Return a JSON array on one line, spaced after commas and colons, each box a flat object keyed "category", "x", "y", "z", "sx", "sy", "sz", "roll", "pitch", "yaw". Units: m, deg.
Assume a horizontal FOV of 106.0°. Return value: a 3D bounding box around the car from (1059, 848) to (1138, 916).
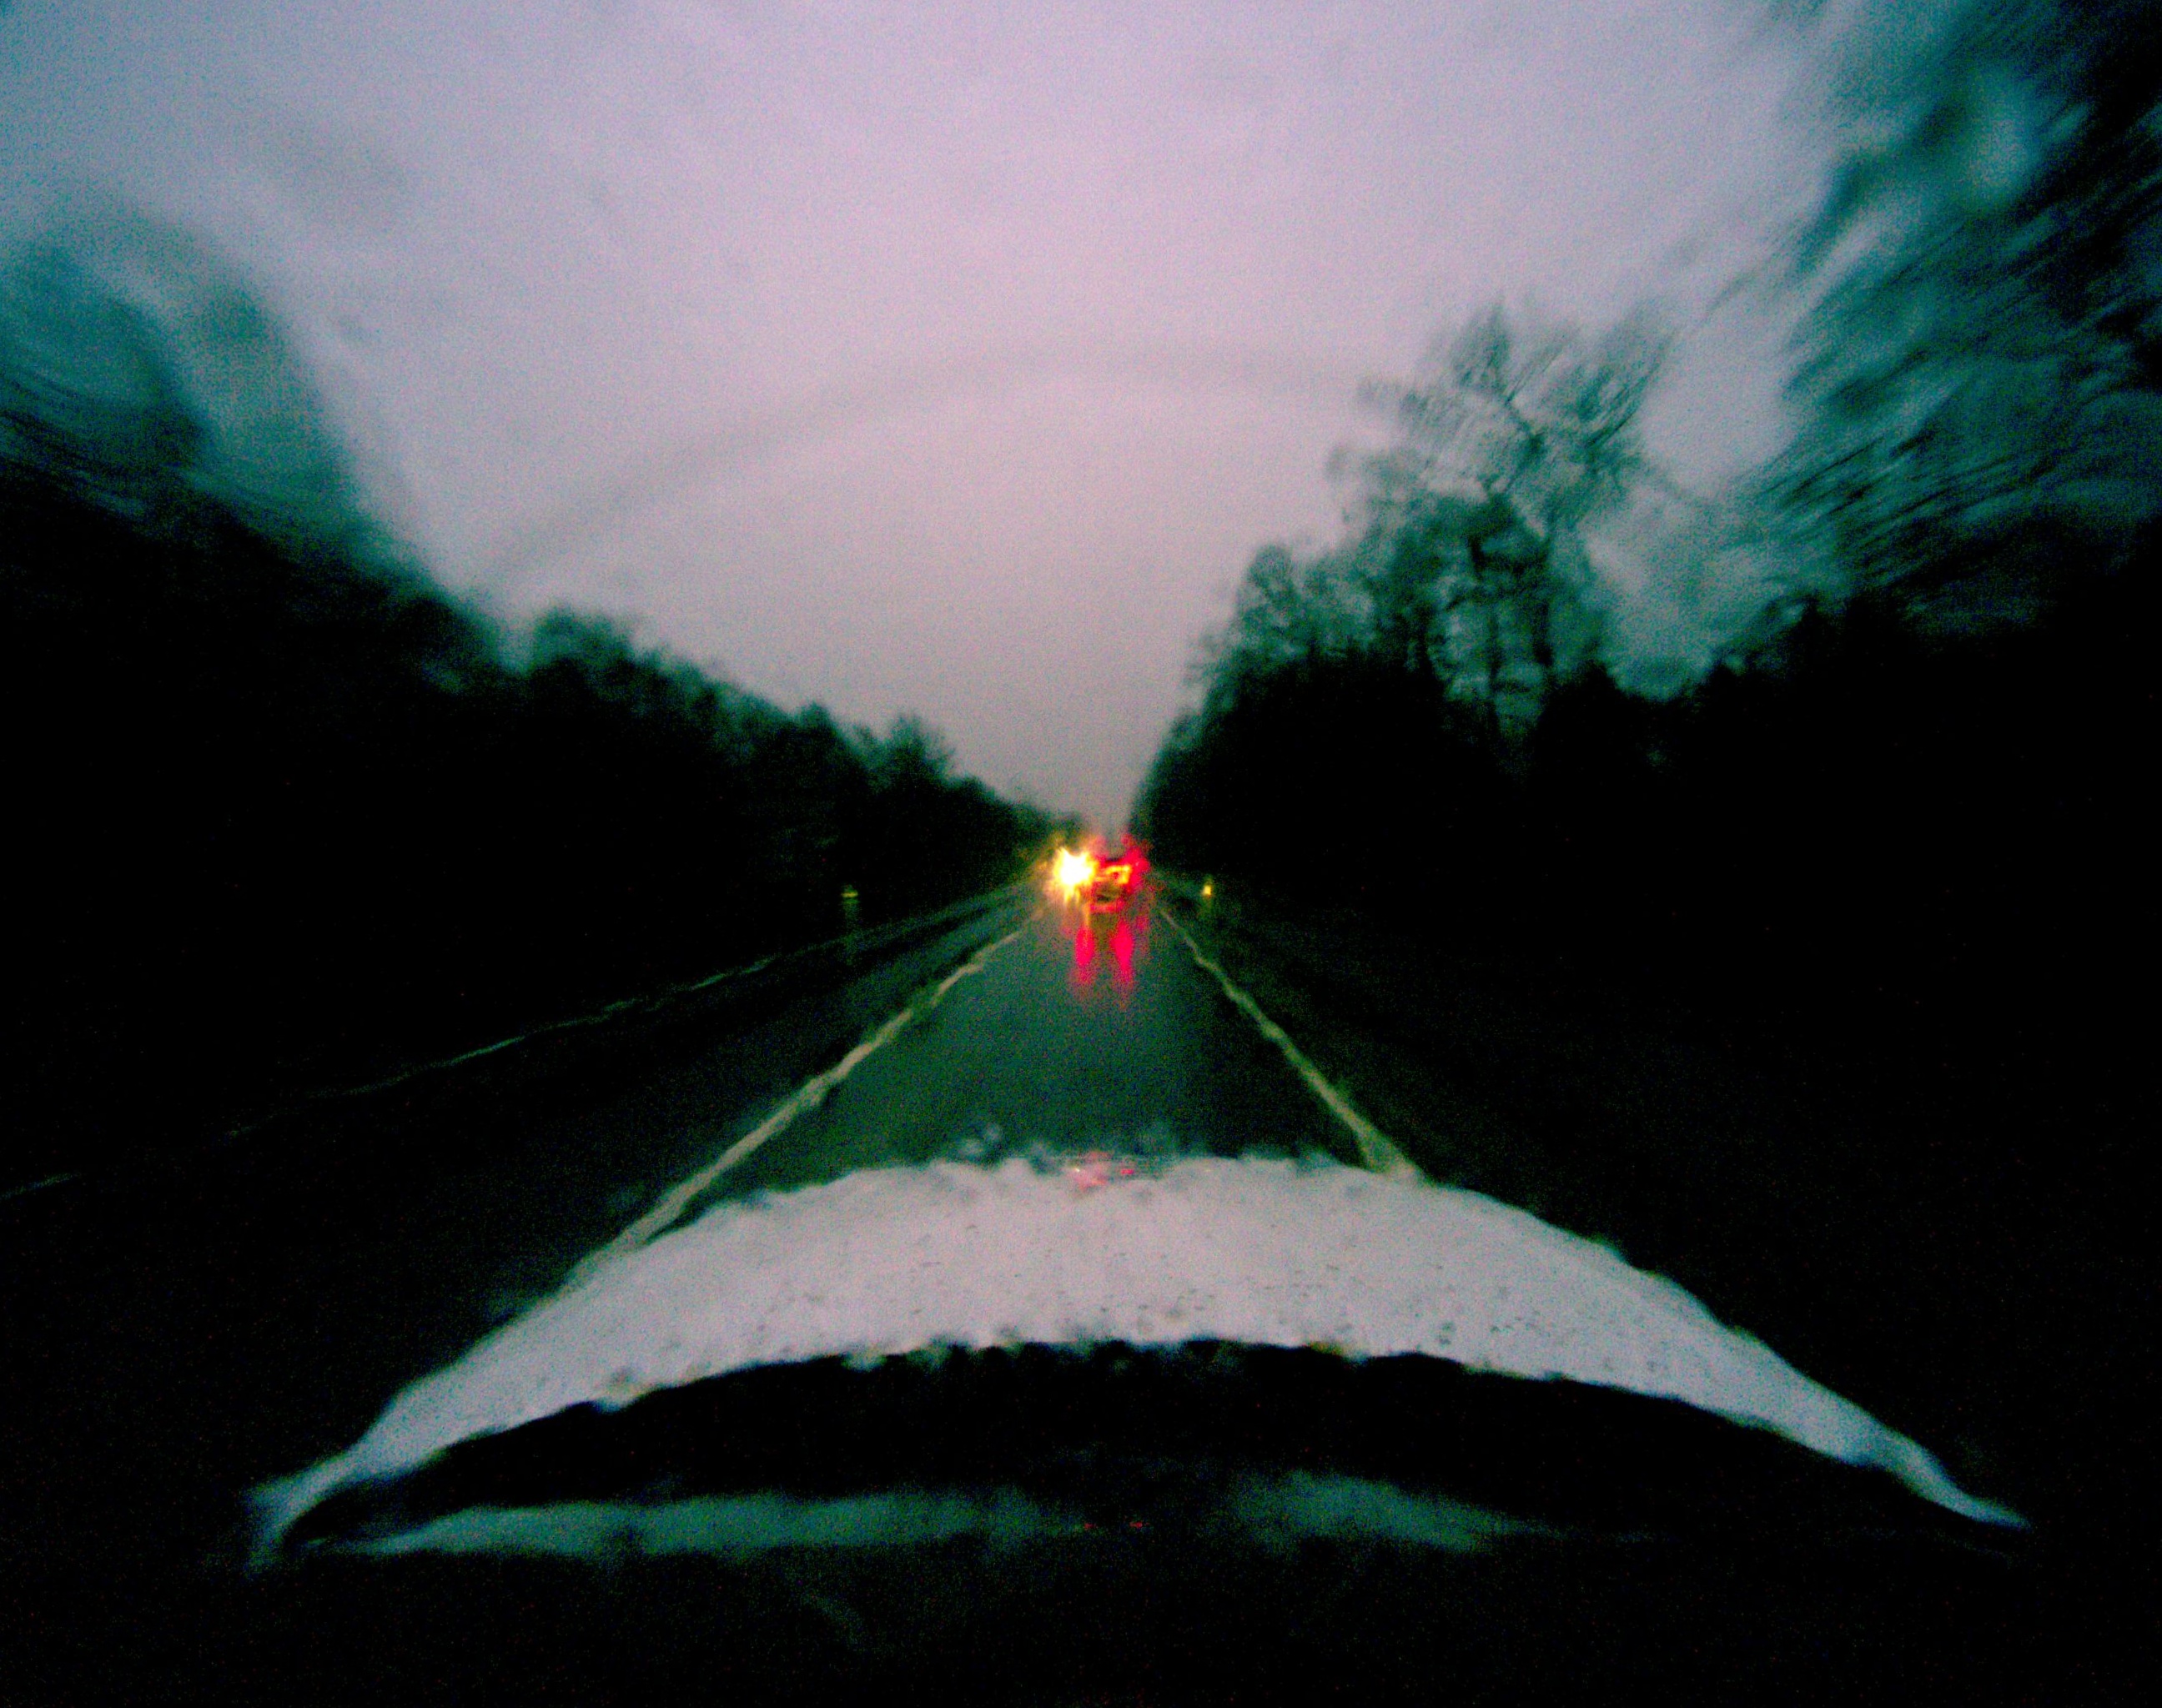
[{"category": "car", "x": 0.569, "y": 0.796, "z": 25.119, "sx": 2.190, "sy": 1.878, "sz": 4.828, "roll": 0, "pitch": -1, "yaw": 2}]
